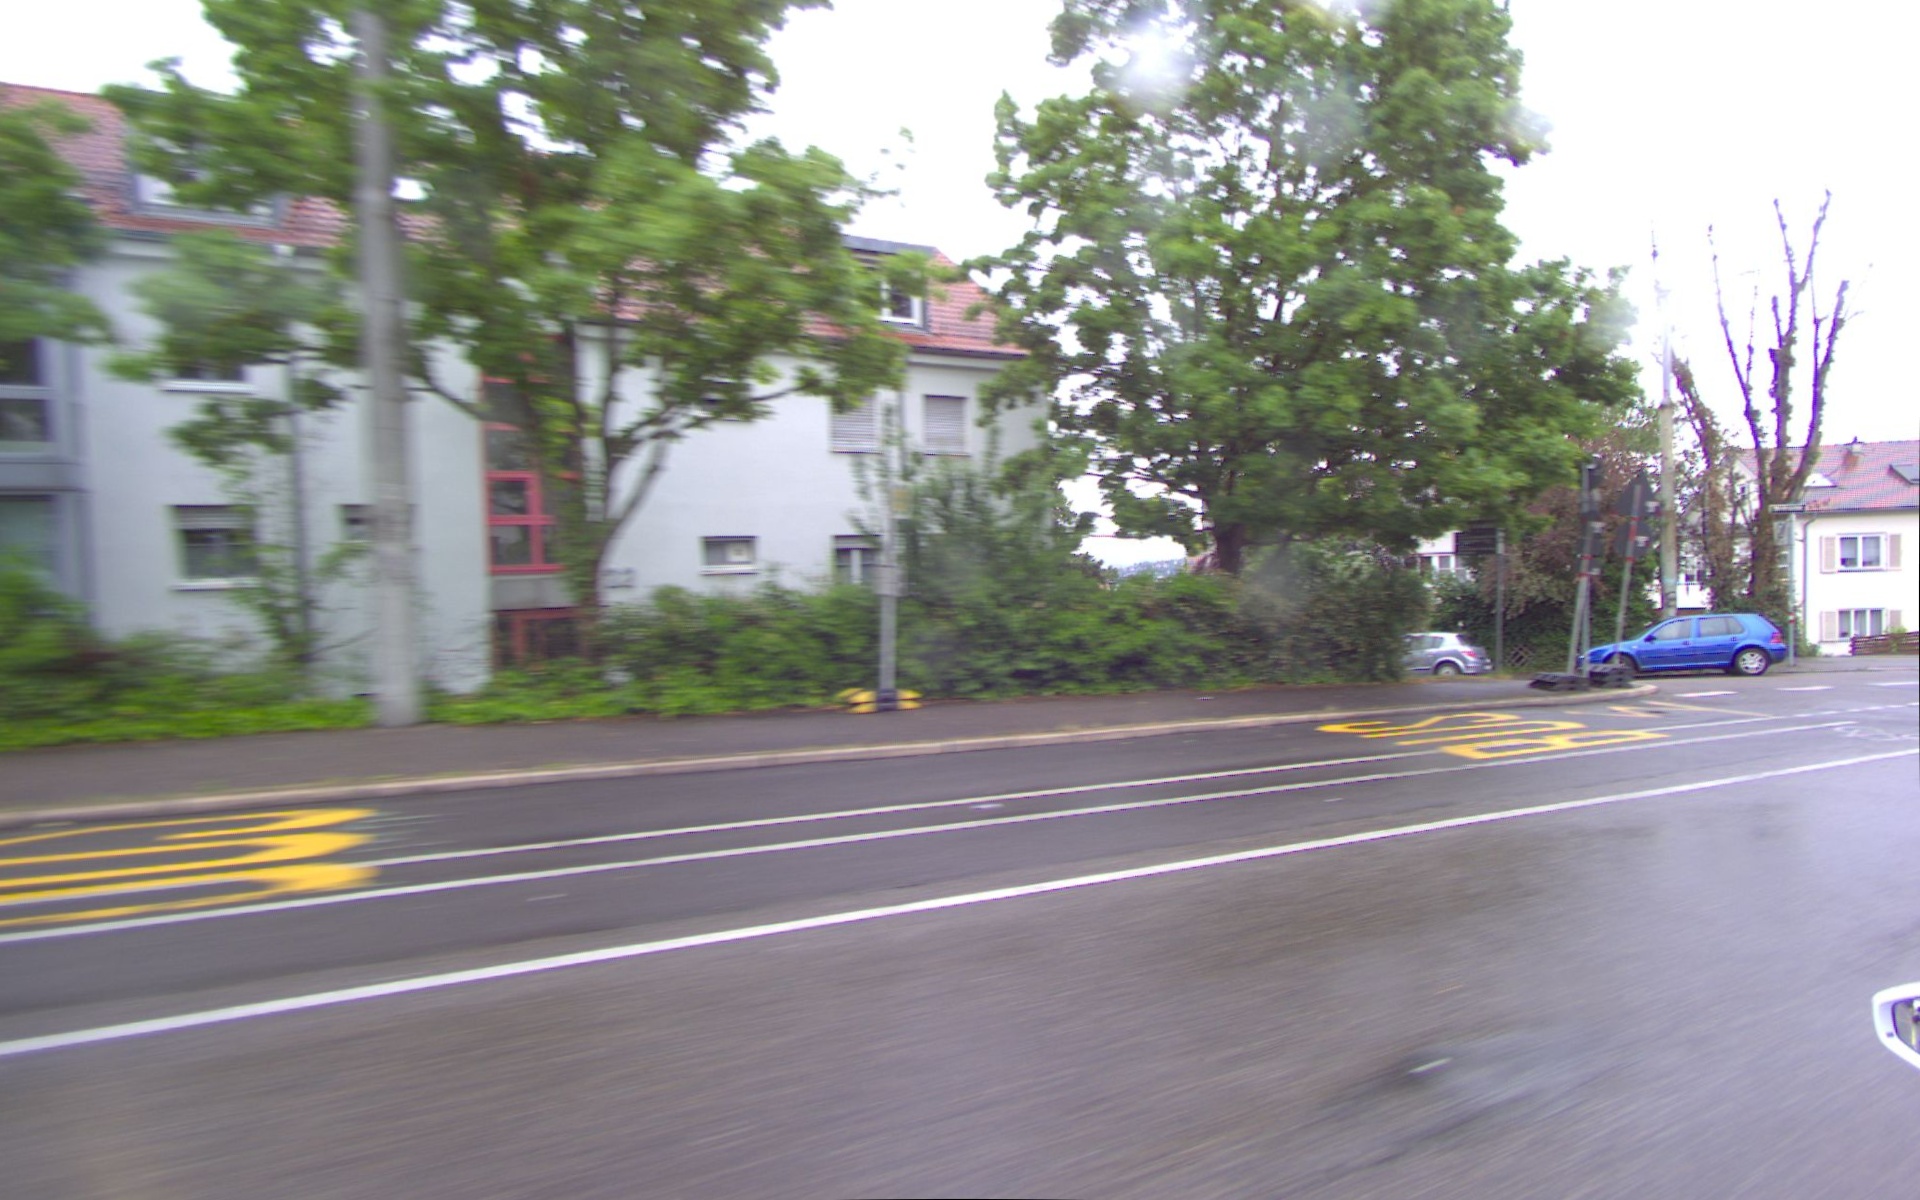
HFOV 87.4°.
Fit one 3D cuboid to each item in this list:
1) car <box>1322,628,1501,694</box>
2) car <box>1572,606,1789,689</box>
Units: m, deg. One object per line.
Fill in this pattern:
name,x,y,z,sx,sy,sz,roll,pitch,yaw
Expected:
car,12.102,1.583,27.088,4.025,1.514,1.831,1,0,44
car,16.946,1.067,23.883,3.868,1.688,1.840,2,0,26
